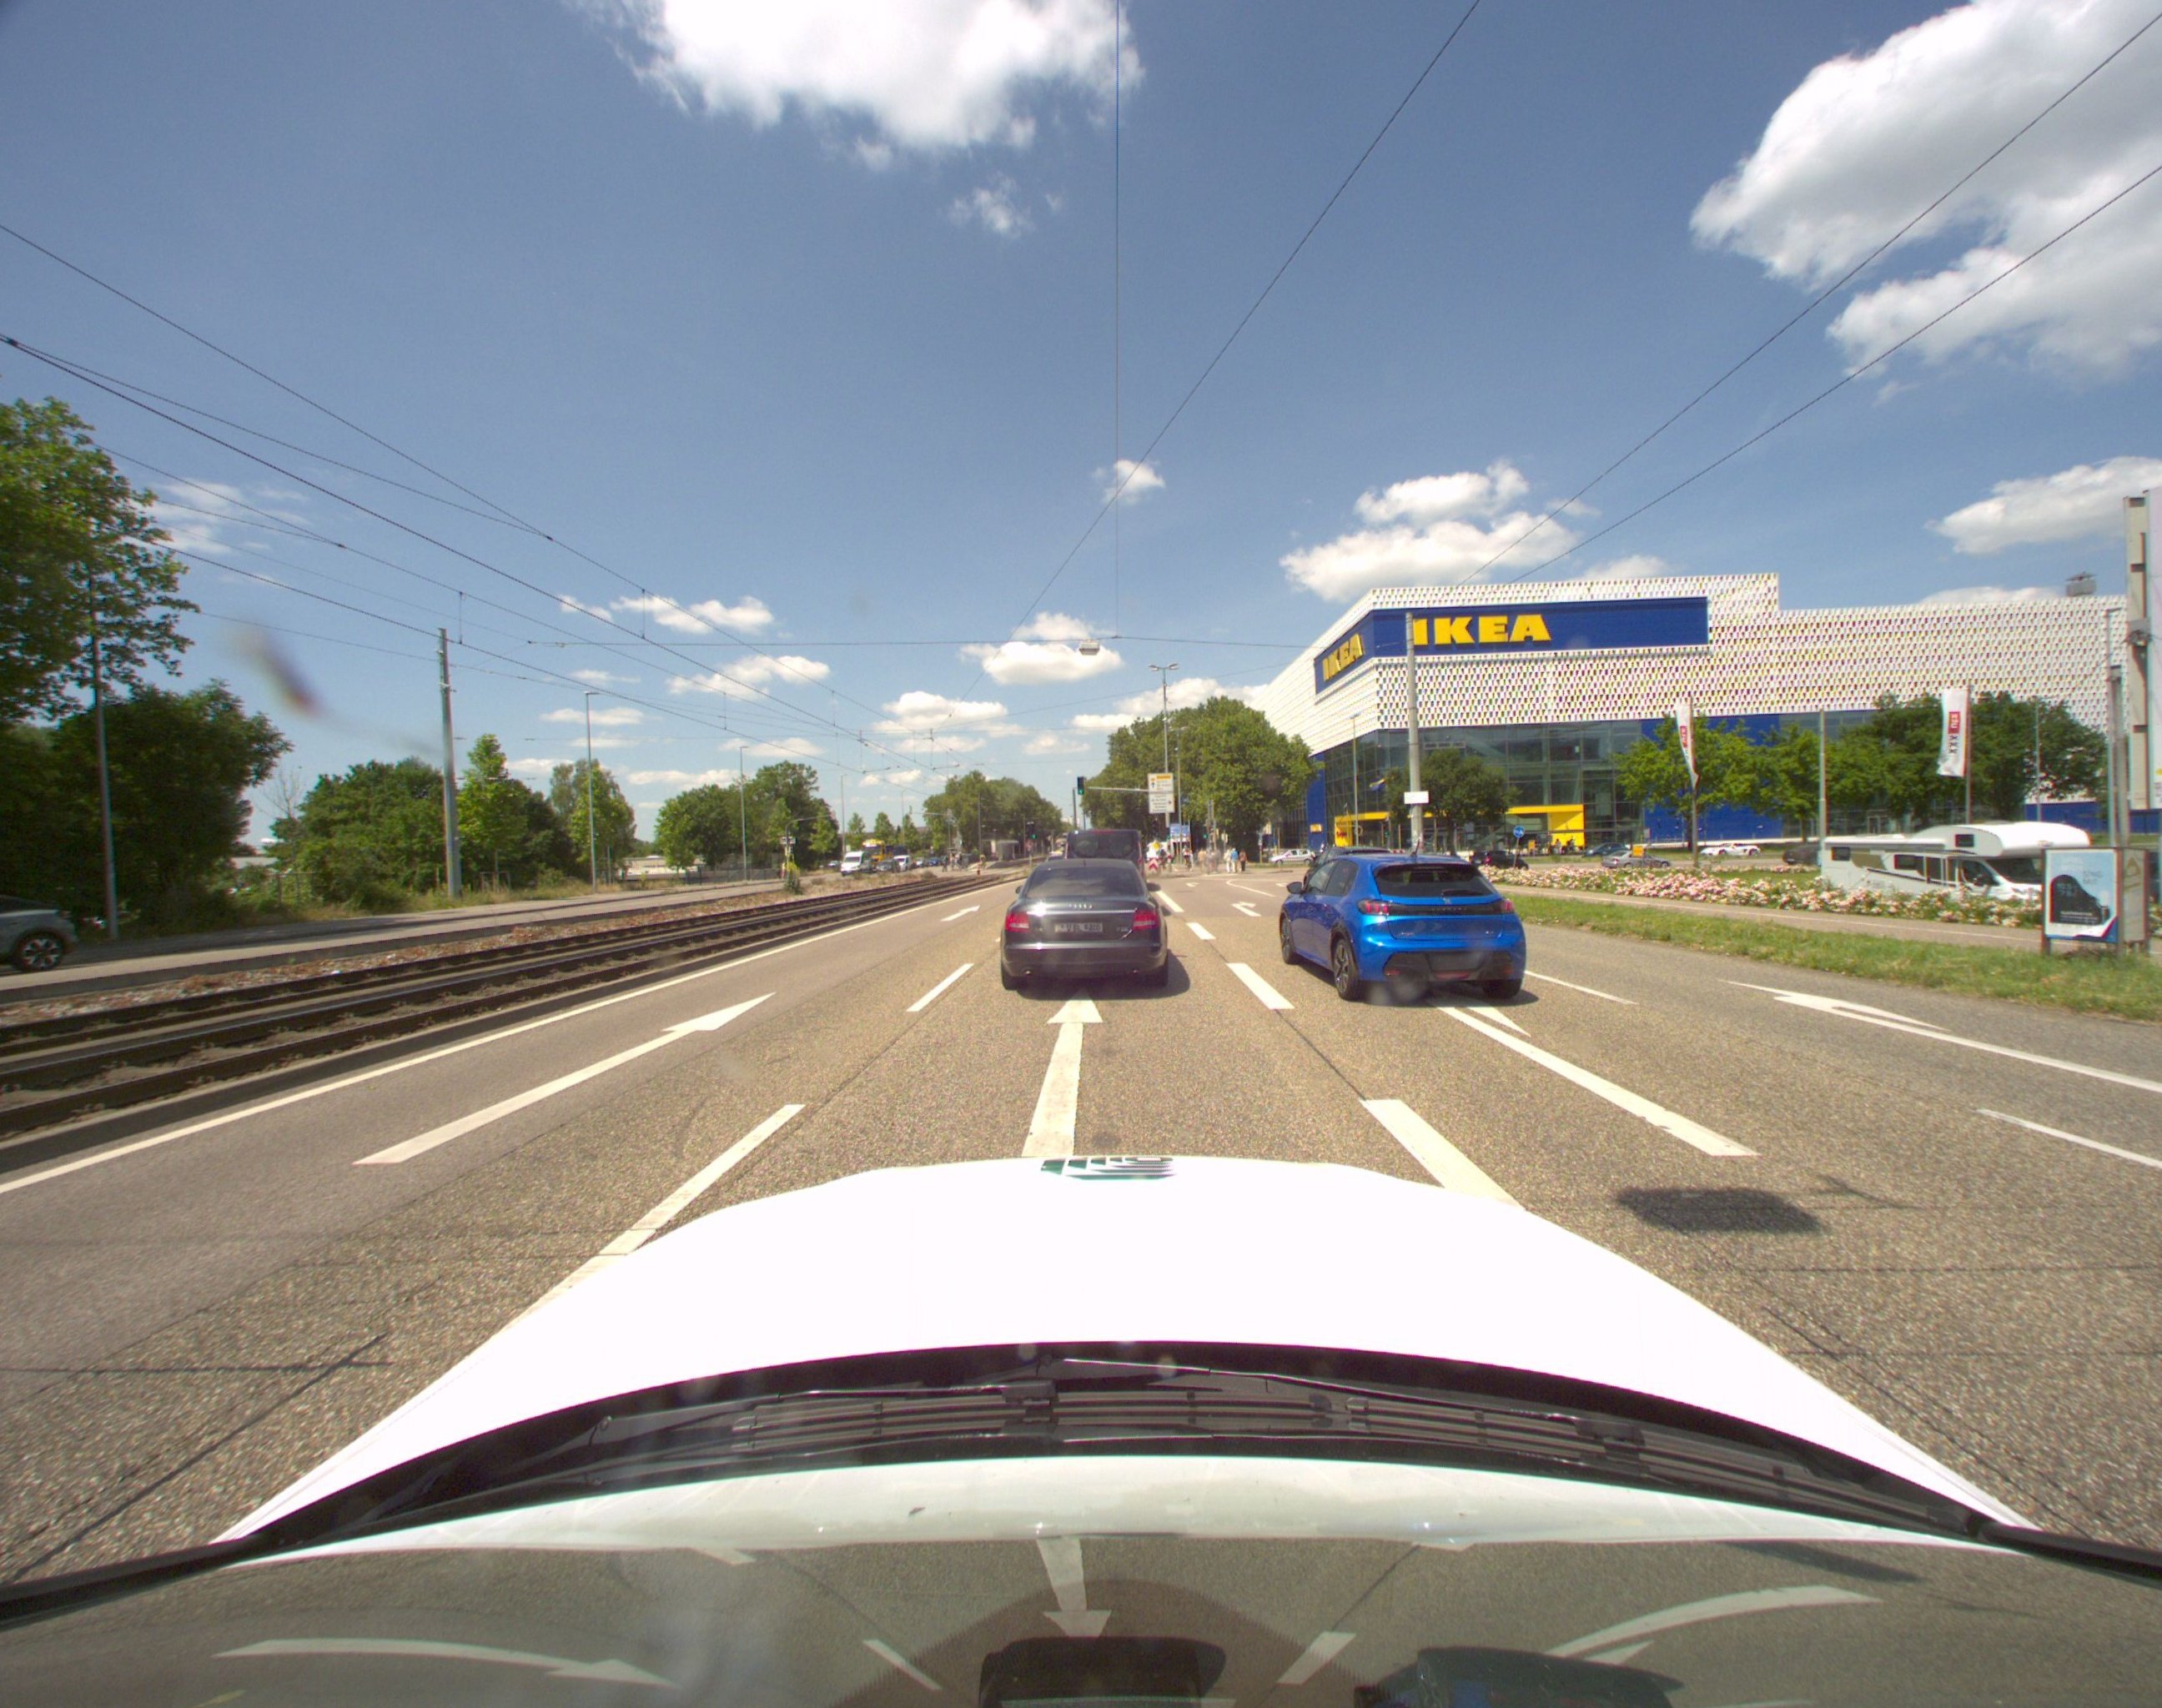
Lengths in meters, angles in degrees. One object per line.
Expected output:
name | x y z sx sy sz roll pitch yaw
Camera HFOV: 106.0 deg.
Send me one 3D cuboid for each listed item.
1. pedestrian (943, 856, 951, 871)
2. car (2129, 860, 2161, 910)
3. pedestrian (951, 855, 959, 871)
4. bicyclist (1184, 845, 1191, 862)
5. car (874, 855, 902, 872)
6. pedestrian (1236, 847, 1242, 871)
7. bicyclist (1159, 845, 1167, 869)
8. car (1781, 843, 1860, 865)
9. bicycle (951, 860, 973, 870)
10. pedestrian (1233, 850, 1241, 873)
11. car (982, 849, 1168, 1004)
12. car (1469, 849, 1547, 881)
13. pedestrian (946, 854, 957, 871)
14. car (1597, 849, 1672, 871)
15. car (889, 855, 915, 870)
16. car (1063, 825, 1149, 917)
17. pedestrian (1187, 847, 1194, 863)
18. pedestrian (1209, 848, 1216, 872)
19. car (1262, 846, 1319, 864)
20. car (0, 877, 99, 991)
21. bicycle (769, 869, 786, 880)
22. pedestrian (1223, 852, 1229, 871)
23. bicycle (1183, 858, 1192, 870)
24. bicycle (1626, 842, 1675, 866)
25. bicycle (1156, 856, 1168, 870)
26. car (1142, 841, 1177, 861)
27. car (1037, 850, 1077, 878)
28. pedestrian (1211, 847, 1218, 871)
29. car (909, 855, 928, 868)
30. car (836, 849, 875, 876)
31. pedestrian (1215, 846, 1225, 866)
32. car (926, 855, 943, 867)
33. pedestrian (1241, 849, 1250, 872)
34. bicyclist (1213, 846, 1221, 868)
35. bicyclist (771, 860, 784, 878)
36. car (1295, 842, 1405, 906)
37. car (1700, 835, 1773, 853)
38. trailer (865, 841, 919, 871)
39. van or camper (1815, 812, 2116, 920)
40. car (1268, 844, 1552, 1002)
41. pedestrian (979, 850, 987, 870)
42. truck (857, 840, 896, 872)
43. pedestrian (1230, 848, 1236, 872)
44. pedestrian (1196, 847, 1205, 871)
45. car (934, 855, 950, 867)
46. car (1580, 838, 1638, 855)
pedestrian | -13.128 0.918 79.626 0.683 1.443 0.572 -1 0 -2
car | 35.057 0.965 24.111 1.986 1.537 4.772 -3 0 2
pedestrian | -12.443 0.854 80.722 0.683 1.564 0.572 -1 0 -2
bicyclist | 7.944 -0.042 60.834 0.468 1.193 0.792 -1 0 2
car | -20.675 0.996 87.320 1.815 1.670 4.463 0 0 2
pedestrian | 10.868 0.353 56.023 0.396 1.635 0.371 -1 0 5
bicyclist | 6.141 0.228 61.107 0.526 1.789 1.089 -1 0 2
car | 52.393 -0.002 57.738 3.969 1.489 1.737 -1 0 3
bicycle | -11.498 1.092 78.662 2.055 0.925 0.751 -1 0 -8
pedestrian | 11.402 0.536 59.416 0.501 1.635 0.449 -1 0 4
car | 0.010 0.707 10.057 1.786 1.455 4.002 -2 0 2
car | 28.741 0.740 54.902 4.170 2.013 1.999 -1 0 -2
pedestrian | -13.080 0.870 82.286 0.816 1.720 0.779 -1 0 24
car | 38.884 0.429 57.217 4.151 1.486 1.994 0 0 -9
car | -20.705 0.993 94.368 1.814 1.670 4.465 0 0 3
car | 0.606 0.374 19.721 1.830 1.950 4.001 -1 0 2
pedestrian | 10.180 0.090 75.809 0.490 1.520 0.710 -1 0 19
pedestrian | 9.142 0.429 56.629 0.443 1.635 0.430 -1 0 5
car | 17.926 0.098 69.799 4.475 1.486 2.003 0 0 5
car | -19.669 1.416 13.294 1.988 1.918 4.408 0 0 -2
bicycle | -29.584 2.005 79.441 1.487 0.987 0.485 -1 0 -2
pedestrian | 9.968 0.541 56.119 0.371 1.303 0.365 -1 0 5
bicycle | 7.978 0.729 60.841 0.547 0.877 1.699 -1 0 3
bicycle | 37.039 0.007 53.015 2.410 1.481 0.990 -1 0 6
bicycle | 6.076 0.638 61.026 0.685 0.993 2.753 -1 0 2
car | 9.225 -0.336 95.842 2.003 2.309 4.736 -1 0 -24
car | -1.310 0.533 46.298 1.986 1.486 4.002 0 1 2
pedestrian | 9.388 0.350 57.252 0.379 1.635 0.377 -1 0 5
car | -23.112 1.060 115.780 1.811 1.883 4.002 -1 0 2
car | -24.212 0.821 87.708 2.235 2.588 6.236 -4 1 1
pedestrian | 12.680 0.161 74.430 0.678 1.846 0.711 -1 0 27
car | -22.559 1.060 125.422 1.811 1.883 4.002 -1 0 2
pedestrian | 11.989 0.454 59.388 0.518 1.670 0.495 -1 0 5
bicyclist | 11.223 0.220 67.106 0.525 1.764 0.831 -1 0 15
bicyclist | -29.583 1.449 79.442 1.116 1.774 0.340 -1 0 -3
car | 7.077 0.478 21.840 1.754 1.526 4.102 -1 0 3
car | 54.991 -0.832 68.383 4.475 1.486 2.003 0 0 5
trailer | -23.940 0.211 104.330 2.757 3.518 15.884 -1 0 2
van or camper | 28.247 0.332 26.640 2.494 3.020 7.235 -1 0 6
car | 3.487 0.616 9.502 1.830 1.454 4.002 0 1 2
pedestrian | -9.875 0.602 82.227 0.683 2.013 0.572 -1 0 -3
truck | -24.179 0.233 96.572 2.757 3.569 6.442 -1 0 2
pedestrian | 10.446 0.383 55.979 0.319 1.635 0.377 -1 0 5
pedestrian | 8.315 0.360 56.724 0.551 1.635 0.433 -1 0 4
car | -22.300 1.065 130.738 1.811 1.883 4.002 -1 0 2
car | 46.477 -0.645 71.763 3.770 1.486 2.003 0 0 5
